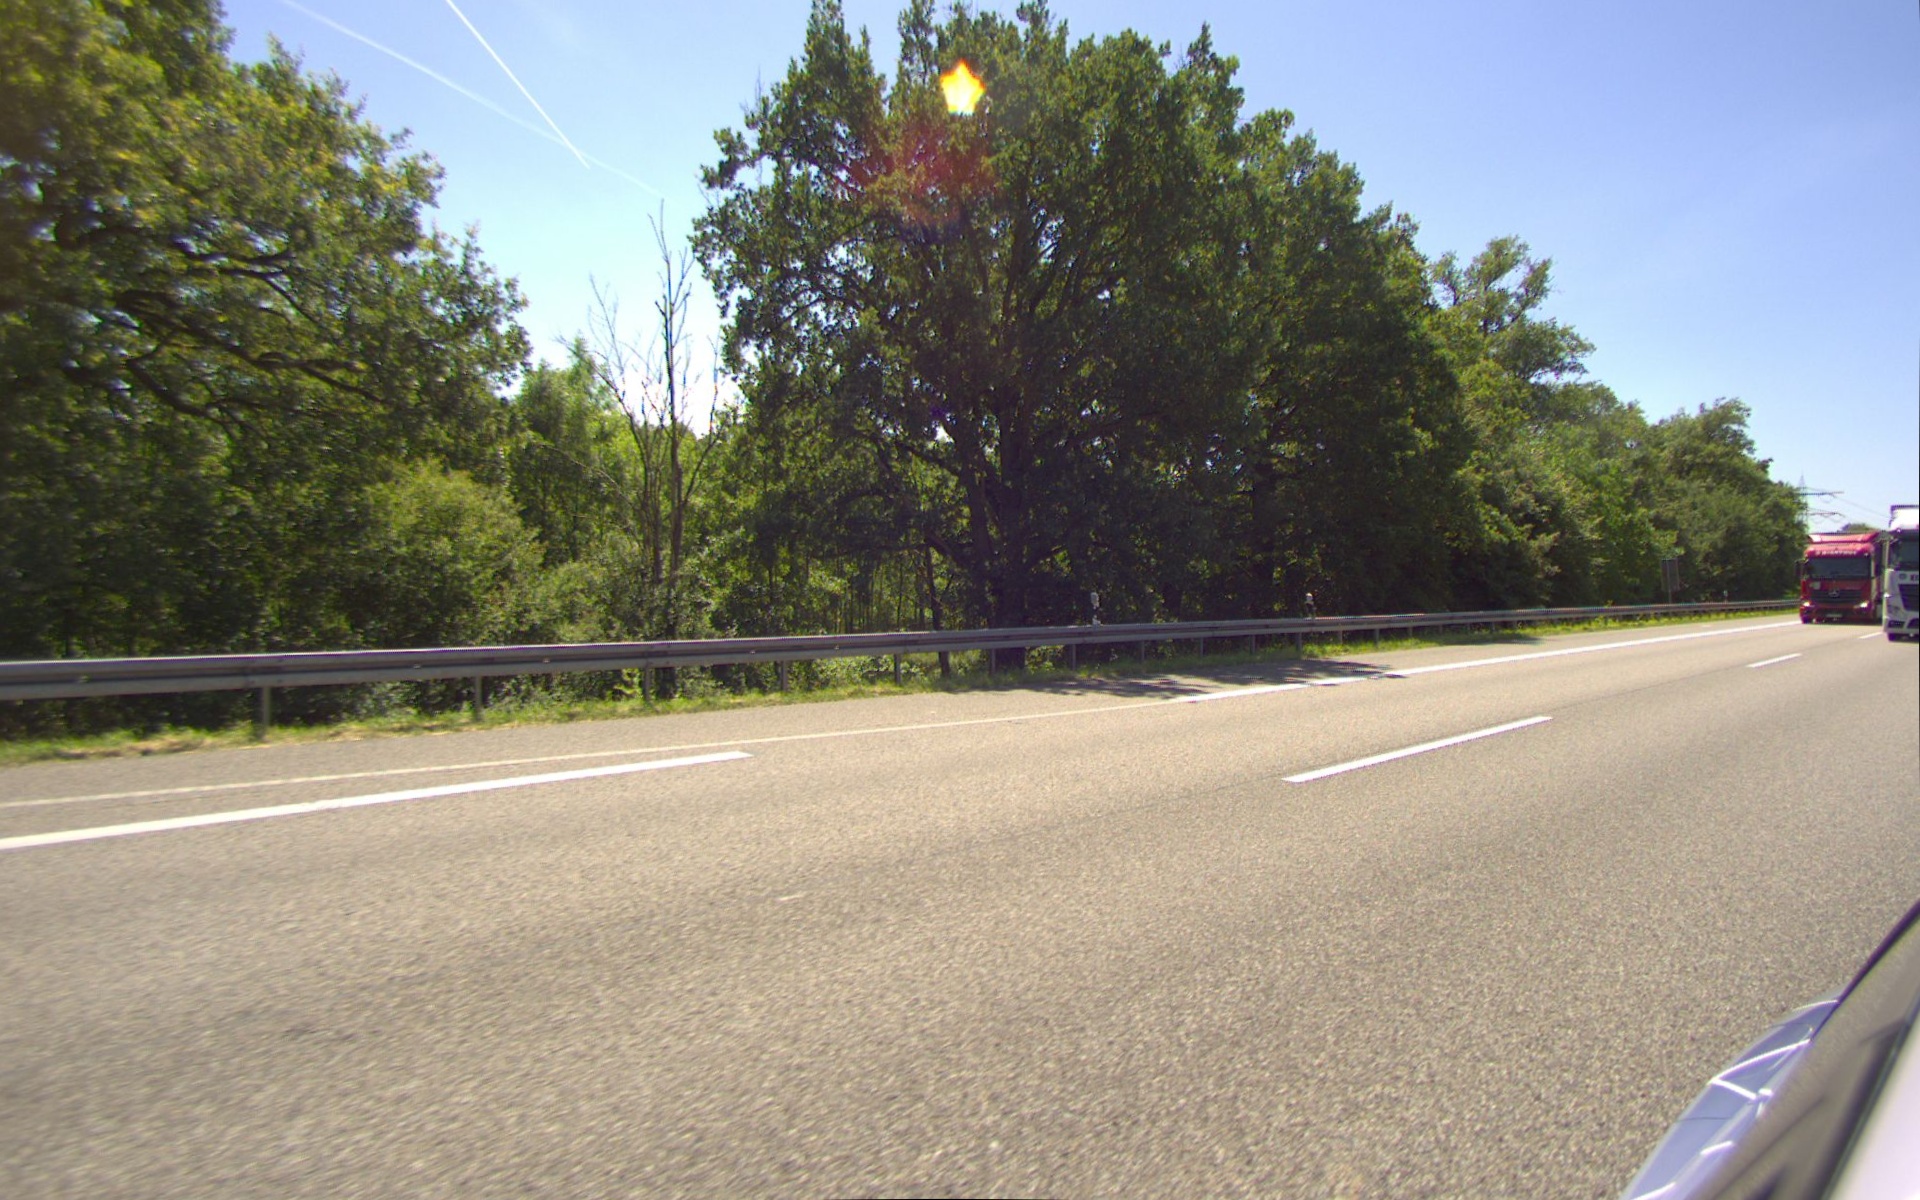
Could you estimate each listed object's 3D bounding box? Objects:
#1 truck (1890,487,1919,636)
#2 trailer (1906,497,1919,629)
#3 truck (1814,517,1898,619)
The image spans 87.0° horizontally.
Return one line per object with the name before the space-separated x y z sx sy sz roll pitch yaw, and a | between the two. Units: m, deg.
truck | 29.554 -1.131 29.795 6.345 4.144 2.703 -2 2 -43
trailer | 35.876 -1.321 35.689 14.499 4.118 2.711 -2 2 -43
truck | 39.907 -1.393 45.035 4.594 4.283 2.331 0 1 -43
